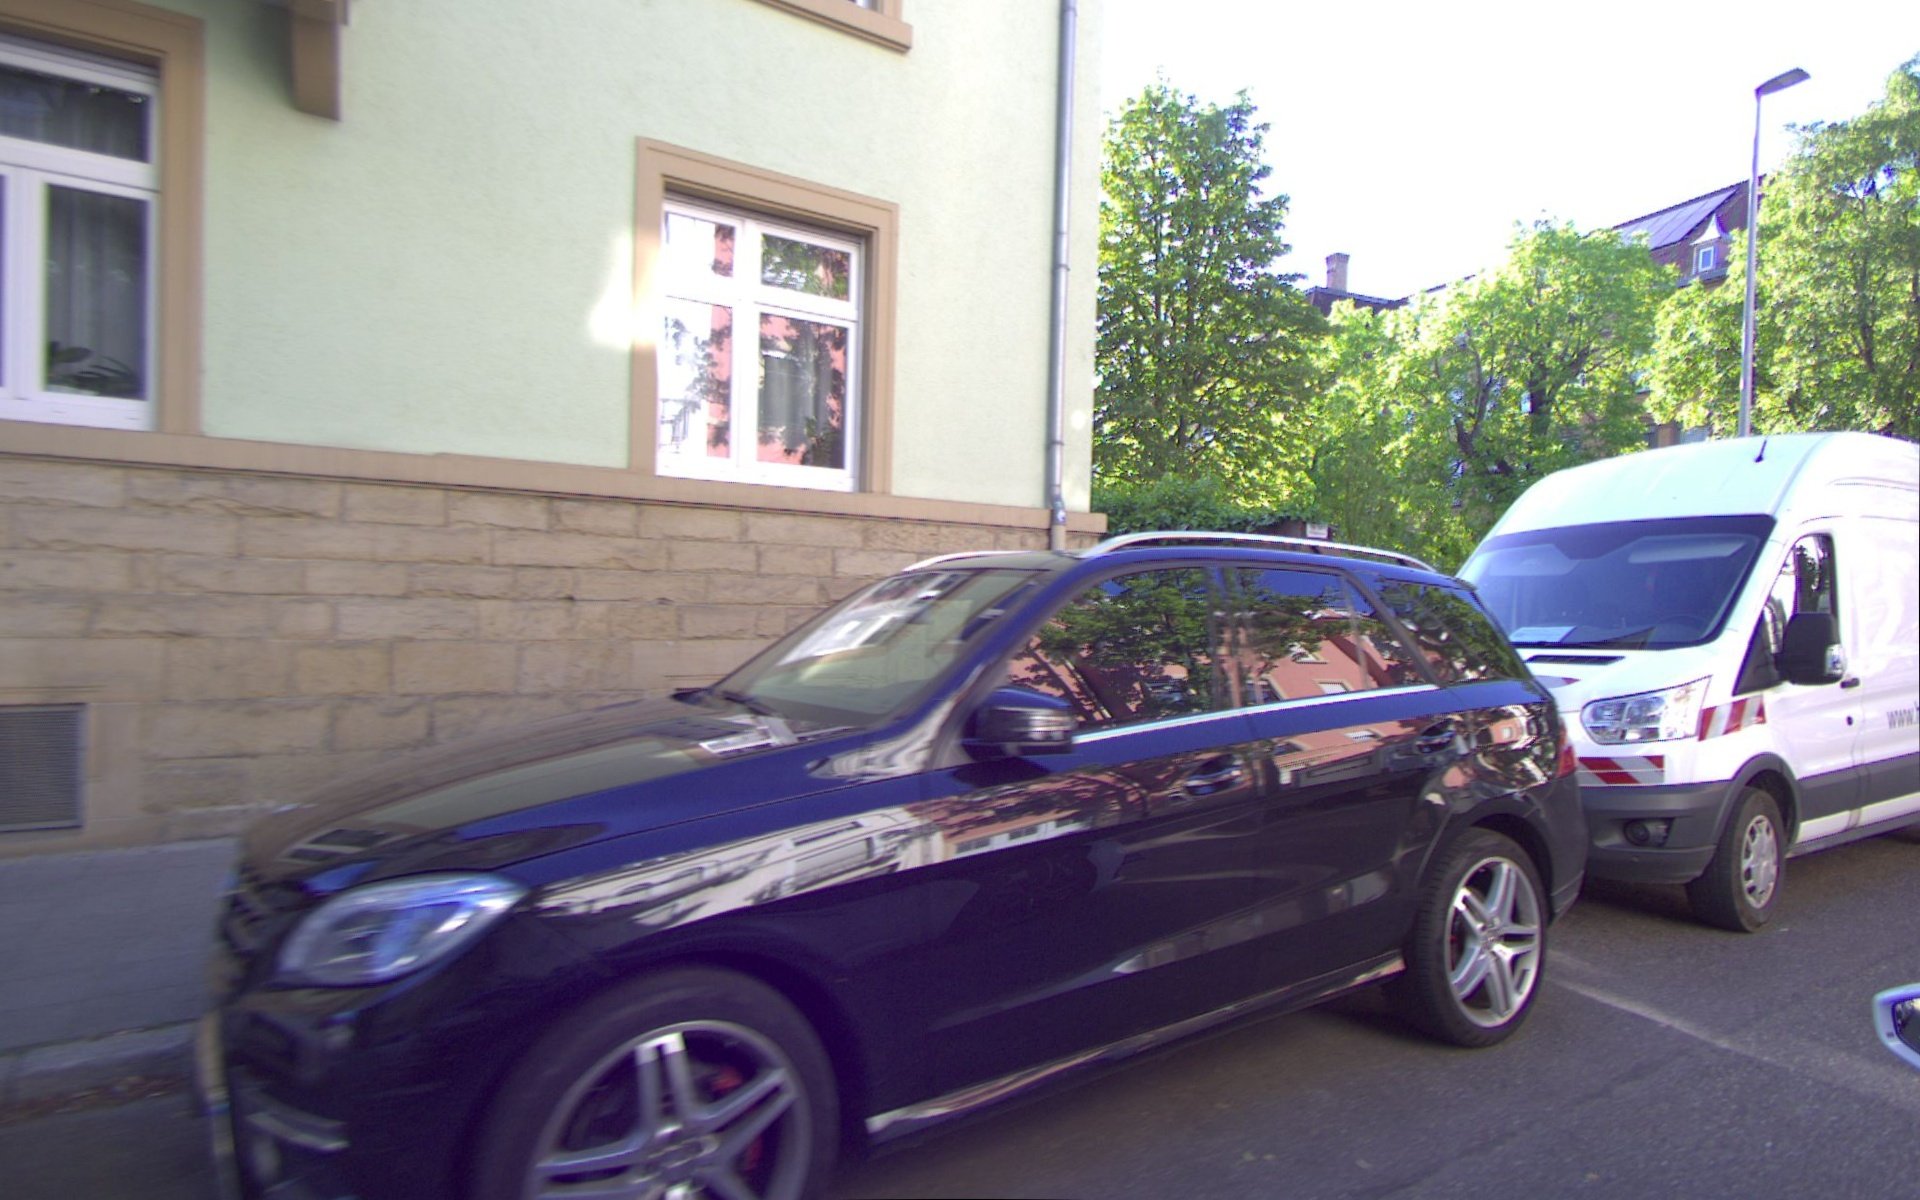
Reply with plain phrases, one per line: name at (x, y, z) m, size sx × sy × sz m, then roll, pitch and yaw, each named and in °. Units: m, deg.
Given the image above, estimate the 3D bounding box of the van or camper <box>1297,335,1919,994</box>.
van or camper at (5.042, 0.356, 6.718) m, size 5.786 × 2.805 × 2.117 m, roll 2°, pitch -2°, yaw -32°

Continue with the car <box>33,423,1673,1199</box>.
car at (0.299, 0.672, 3.523) m, size 4.914 × 1.708 × 1.865 m, roll 1°, pitch -2°, yaw -32°
